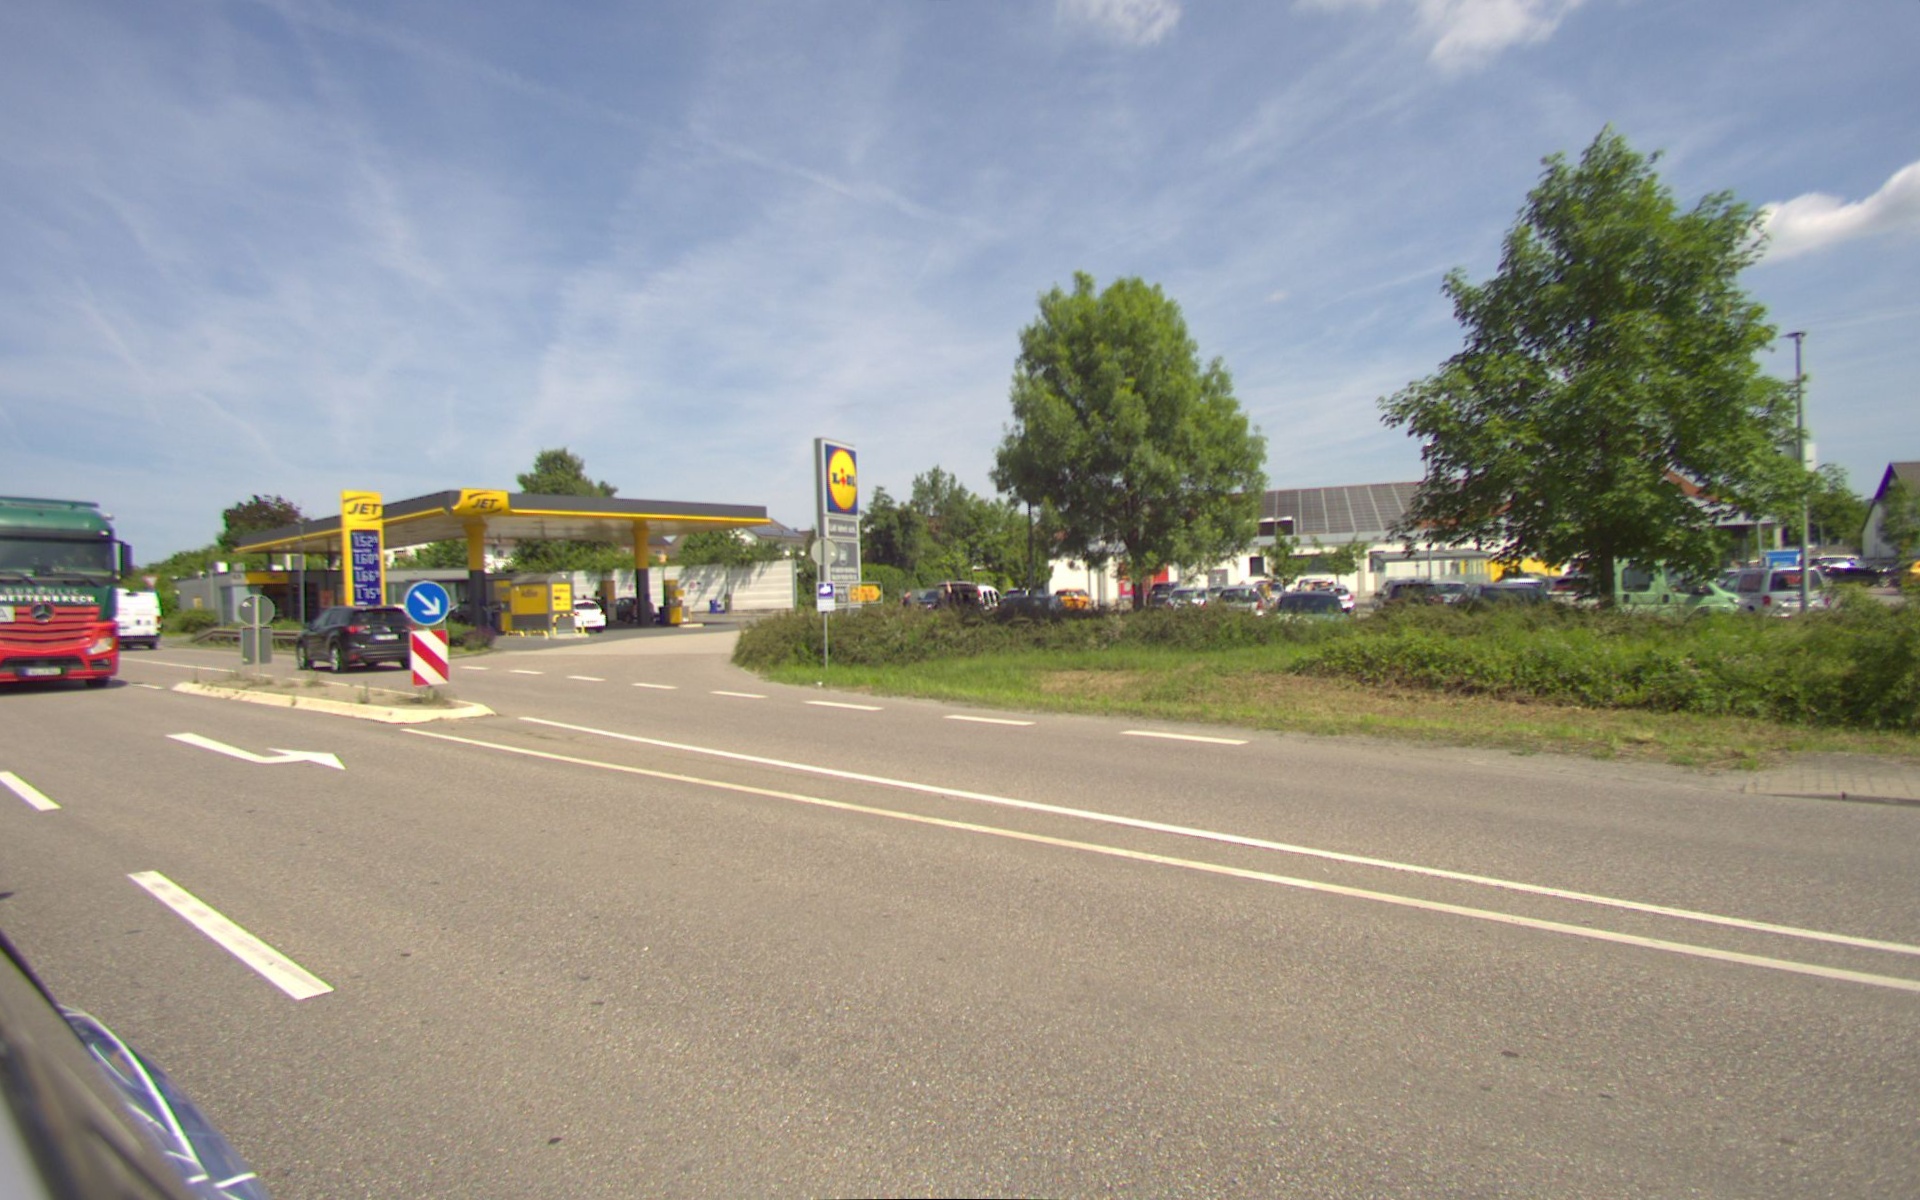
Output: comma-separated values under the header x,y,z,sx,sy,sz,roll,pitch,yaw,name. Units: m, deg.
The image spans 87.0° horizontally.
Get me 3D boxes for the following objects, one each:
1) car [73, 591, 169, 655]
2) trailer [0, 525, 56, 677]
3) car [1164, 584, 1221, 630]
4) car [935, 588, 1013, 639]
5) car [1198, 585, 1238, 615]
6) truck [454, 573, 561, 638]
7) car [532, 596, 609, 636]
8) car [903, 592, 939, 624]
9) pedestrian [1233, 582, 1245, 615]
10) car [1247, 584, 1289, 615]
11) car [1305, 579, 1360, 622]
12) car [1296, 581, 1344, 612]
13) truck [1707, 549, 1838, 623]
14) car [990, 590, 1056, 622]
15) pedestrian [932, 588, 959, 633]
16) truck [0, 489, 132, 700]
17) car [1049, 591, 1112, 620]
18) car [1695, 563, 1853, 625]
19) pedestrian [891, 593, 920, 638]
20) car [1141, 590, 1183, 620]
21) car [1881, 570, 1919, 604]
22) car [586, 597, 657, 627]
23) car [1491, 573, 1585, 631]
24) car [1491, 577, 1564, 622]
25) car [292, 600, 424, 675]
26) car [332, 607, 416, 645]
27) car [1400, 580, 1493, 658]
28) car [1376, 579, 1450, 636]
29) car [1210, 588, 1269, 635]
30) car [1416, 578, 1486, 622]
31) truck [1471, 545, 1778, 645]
x,y,z,sx,sy,sz,roll,pitch,yaw,name
-37.503,1.017,45.166,5.978,2.674,2.097,-2,0,38,car
-28.390,0.105,28.836,8.664,3.950,2.773,-1,0,41,trailer
9.338,0.232,40.489,1.850,1.688,4.399,-1,0,17,car
0.592,0.481,38.731,1.865,1.825,4.145,-1,0,17,car
13.314,-0.030,52.239,1.868,1.453,3.981,-1,1,15,car
-22.106,0.261,49.327,6.278,2.944,2.222,0,0,40,truck
-17.765,0.777,46.088,4.001,1.741,1.713,-2,-3,44,car
-2.078,0.393,52.832,1.744,1.551,4.003,-3,0,-3,car
13.230,-0.072,47.975,0.501,1.564,0.514,-1,0,17,pedestrian
15.551,-0.057,51.270,1.868,1.453,3.981,-1,1,15,car
14.273,0.021,38.944,1.764,1.540,3.977,0,0,17,car
17.957,-0.172,50.575,1.868,1.453,3.981,-1,1,15,car
27.872,-0.464,34.895,1.981,2.383,3.982,-1,0,14,truck
3.424,0.302,54.513,1.765,1.551,3.956,-2,0,33,car
-0.525,0.367,35.889,0.801,1.587,0.701,-1,0,13,pedestrian
-21.382,-0.025,22.674,10.043,3.950,2.641,-1,0,41,truck
6.515,0.277,54.322,1.879,1.453,3.958,-1,1,31,car
24.218,-0.164,30.334,1.981,1.708,4.408,-1,0,14,car
-1.947,0.543,36.060,0.693,1.587,0.811,0,-1,-34,pedestrian
10.469,0.226,52.298,1.868,1.453,3.981,-1,1,15,car
45.124,-0.603,46.093,4.223,1.553,1.869,0,0,18,car
-19.322,0.677,57.778,3.862,1.625,1.735,-1,-1,31,car
18.210,0.051,32.064,1.912,1.701,3.973,0,0,20,car
20.586,-0.031,36.865,1.767,1.540,3.972,0,0,21,car
-15.519,0.933,26.021,4.110,1.763,1.846,-2,-1,43,car
-27.723,1.251,47.841,4.258,1.719,1.975,-2,-1,38,car
11.420,0.398,23.952,1.683,1.670,3.971,0,0,22,car
14.665,0.205,32.946,1.898,1.687,3.974,-1,1,20,car
9.883,0.361,35.606,1.769,1.513,4.122,-1,1,18,car
18.330,-0.013,37.939,1.764,1.540,3.977,0,0,17,car
17.157,-0.072,26.633,6.303,2.393,2.234,-1,-1,21,truck
